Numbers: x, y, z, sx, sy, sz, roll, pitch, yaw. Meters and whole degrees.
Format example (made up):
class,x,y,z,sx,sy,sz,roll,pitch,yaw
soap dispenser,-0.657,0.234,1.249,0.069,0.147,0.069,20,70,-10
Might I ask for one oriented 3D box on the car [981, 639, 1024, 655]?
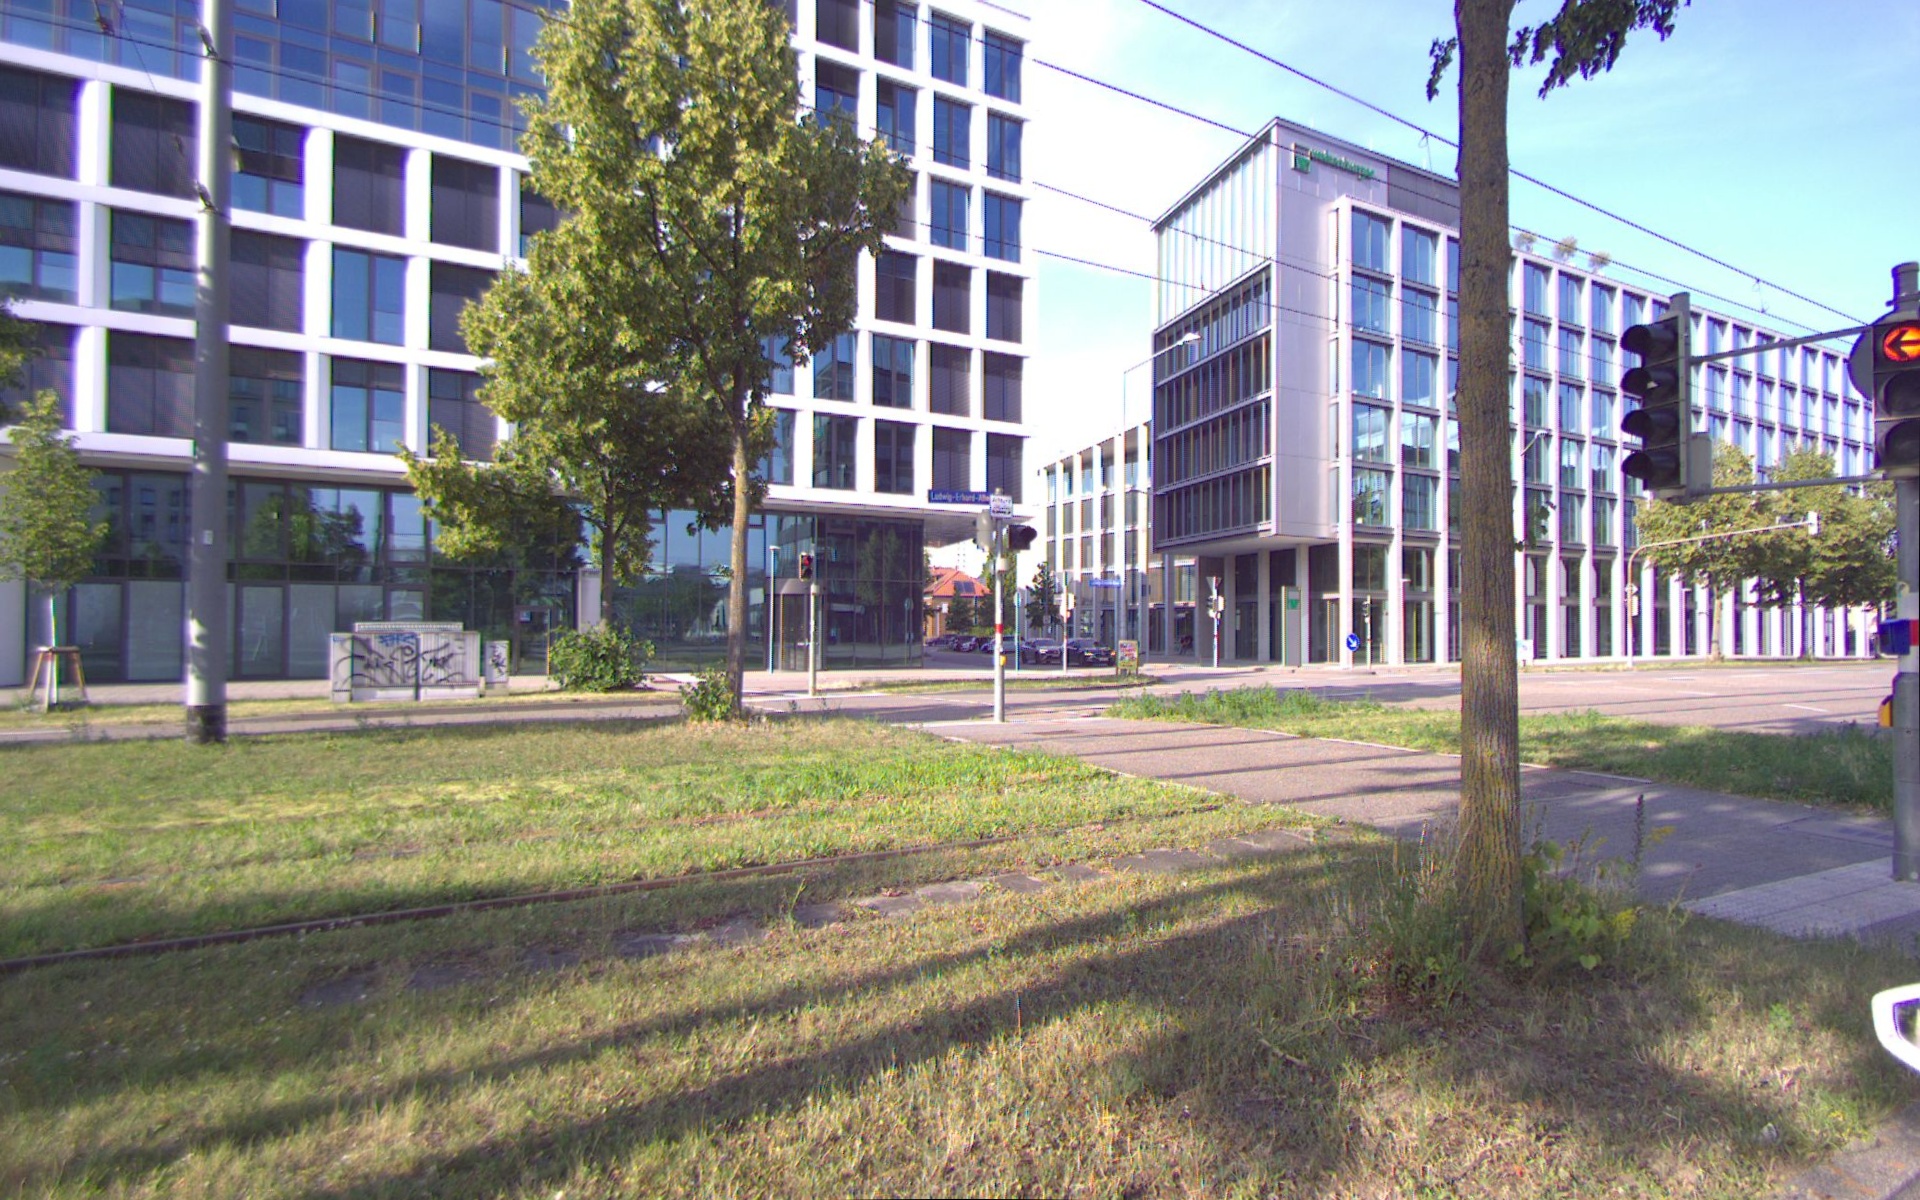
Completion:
class,x,y,z,sx,sy,sz,roll,pitch,yaw
car,3.818,4.180,89.791,3.535,1.313,1.524,2,0,-14

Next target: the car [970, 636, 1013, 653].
class,x,y,z,sx,sy,sz,roll,pitch,yaw
car,2.910,4.099,92.836,3.614,1.416,1.550,2,0,-14

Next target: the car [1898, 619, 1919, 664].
class,x,y,z,sx,sy,sz,roll,pitch,yaw
car,40.440,1.740,41.435,3.841,1.799,1.674,2,0,-33

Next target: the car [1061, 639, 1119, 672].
class,x,y,z,sx,sy,sz,roll,pitch,yaw
car,6.629,2.821,51.467,1.551,1.443,3.498,1,0,-19

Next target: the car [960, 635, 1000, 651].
class,x,y,z,sx,sy,sz,roll,pitch,yaw
car,1.910,4.123,96.508,3.614,1.416,1.550,2,0,-14

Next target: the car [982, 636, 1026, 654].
class,x,y,z,sx,sy,sz,roll,pitch,yaw
car,3.773,3.857,86.767,3.535,1.417,1.524,2,0,-14

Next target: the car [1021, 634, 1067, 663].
class,x,y,z,sx,sy,sz,roll,pitch,yaw
car,4.871,2.808,58.423,1.549,1.443,3.668,1,0,-14
